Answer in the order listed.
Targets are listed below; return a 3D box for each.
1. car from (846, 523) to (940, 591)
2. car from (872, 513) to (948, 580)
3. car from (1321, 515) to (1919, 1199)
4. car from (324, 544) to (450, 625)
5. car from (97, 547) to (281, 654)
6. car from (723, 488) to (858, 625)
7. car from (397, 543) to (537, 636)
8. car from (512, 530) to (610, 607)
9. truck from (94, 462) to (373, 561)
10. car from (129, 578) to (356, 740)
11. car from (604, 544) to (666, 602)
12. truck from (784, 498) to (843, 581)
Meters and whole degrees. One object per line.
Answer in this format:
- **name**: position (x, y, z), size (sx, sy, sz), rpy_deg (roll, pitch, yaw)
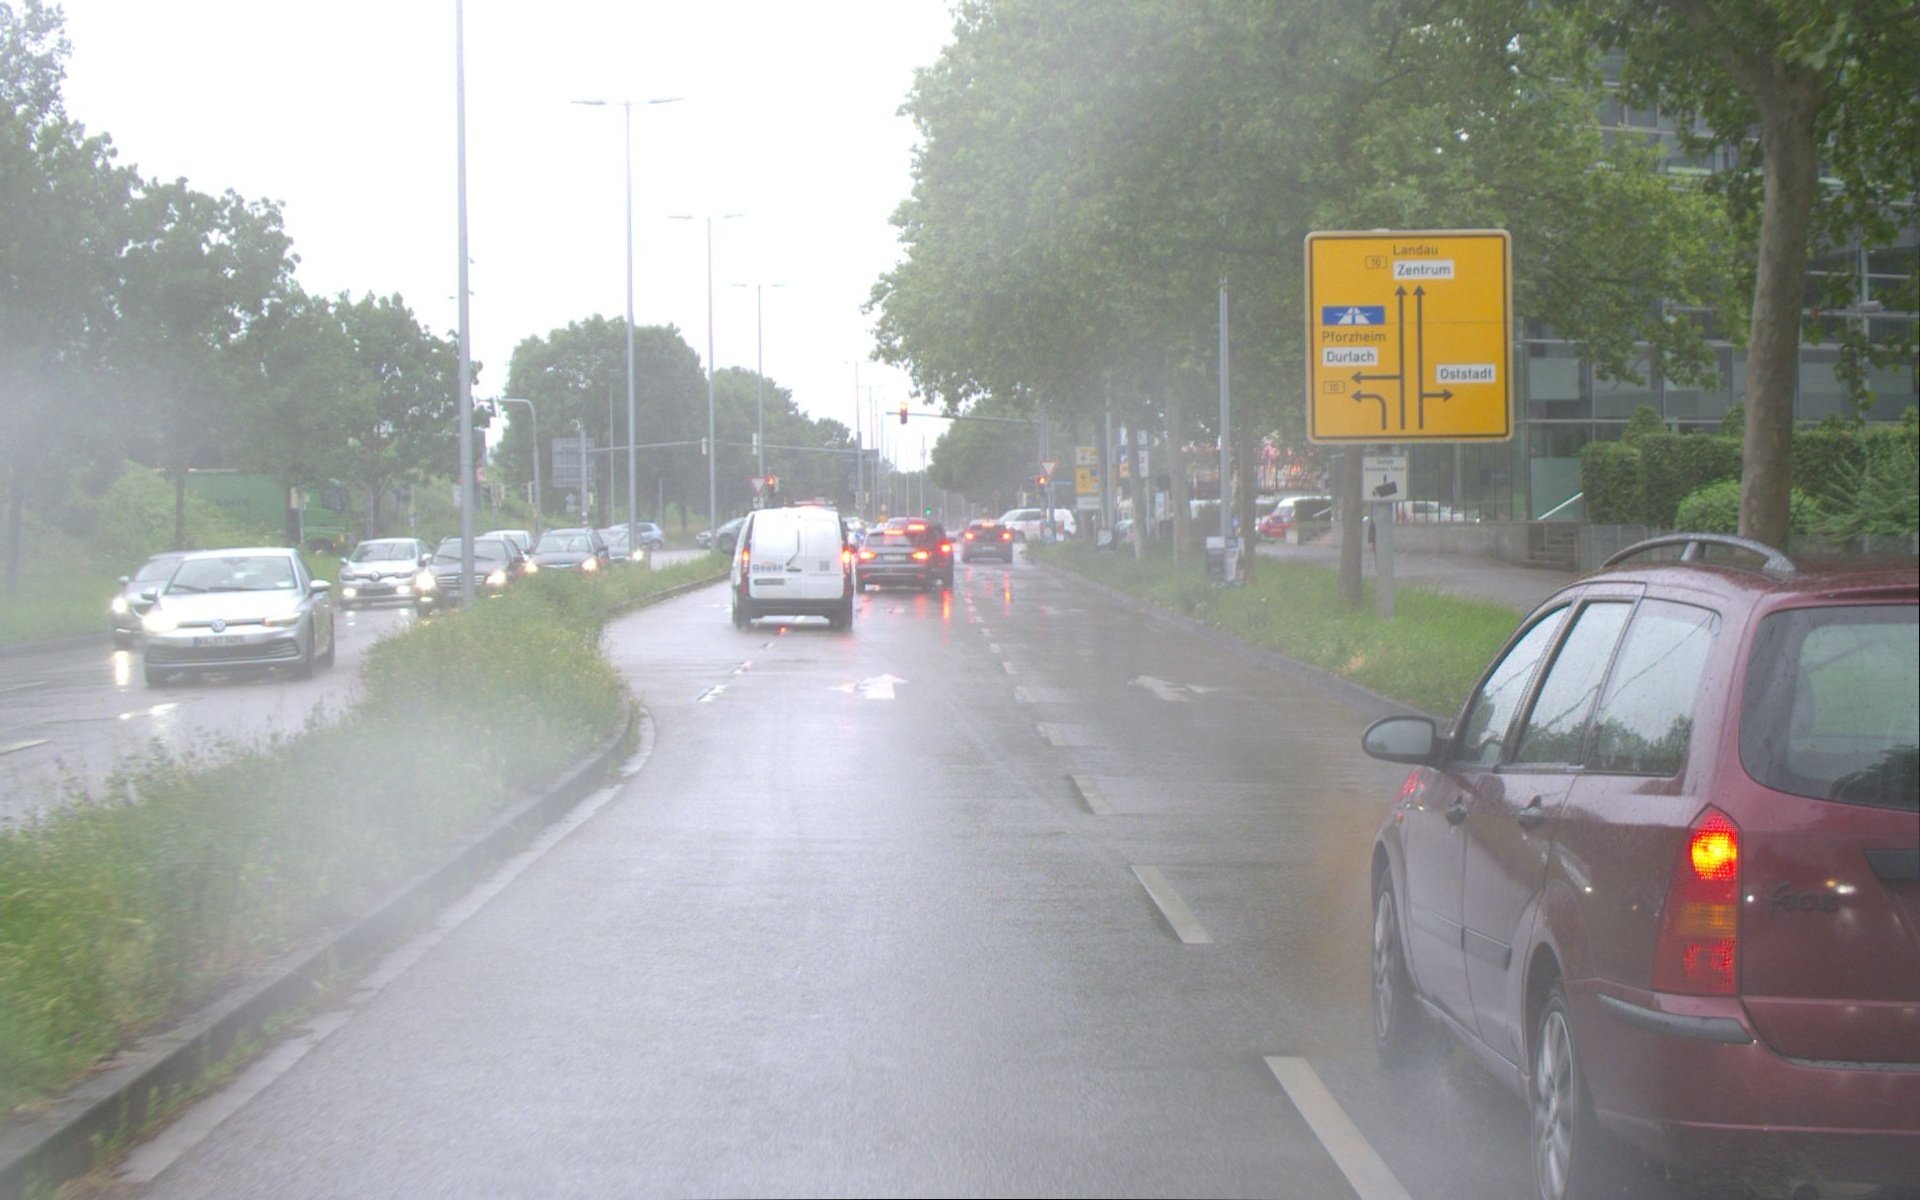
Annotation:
- **car**: position (-1.516, -0.961, 76.438), size (1.993, 1.447, 4.000), rpy_deg (1, 1, -2)
- **car**: position (-1.222, -1.303, 82.621), size (1.708, 1.544, 4.001), rpy_deg (0, 2, -2)
- **car**: position (2.071, 0.600, 8.286), size (1.839, 1.531, 4.112), rpy_deg (1, 1, -2)
- **car**: position (-12.353, -0.360, 74.365), size (1.908, 1.569, 4.709), rpy_deg (-3, 1, 0)
- **car**: position (-11.855, -0.025, 53.127), size (1.835, 1.497, 4.440), rpy_deg (-2, 1, -1)
- **car**: position (-2.585, -0.628, 52.895), size (1.993, 2.007, 4.000), rpy_deg (0, 0, -2)
- **car**: position (-9.214, -0.226, 64.556), size (1.908, 1.569, 4.709), rpy_deg (-3, 1, 0)
- **car**: position (-9.432, -0.775, 81.464), size (1.824, 1.569, 4.361), rpy_deg (1, 3, -1)
- **truck**: position (-27.334, -3.273, 129.765), size (10.110, 3.440, 2.658), rpy_deg (1, -1, -37)
- **car**: position (-7.895, 0.598, 38.197), size (1.908, 1.569, 4.710), rpy_deg (-3, 1, -6)
- **car**: position (-9.331, -0.799, 98.722), size (1.720, 1.612, 4.347), rpy_deg (0, 1, -5)
- **truck**: position (-4.445, -1.842, 104.601), size (1.756, 2.458, 4.000), rpy_deg (0, 1, -2)
